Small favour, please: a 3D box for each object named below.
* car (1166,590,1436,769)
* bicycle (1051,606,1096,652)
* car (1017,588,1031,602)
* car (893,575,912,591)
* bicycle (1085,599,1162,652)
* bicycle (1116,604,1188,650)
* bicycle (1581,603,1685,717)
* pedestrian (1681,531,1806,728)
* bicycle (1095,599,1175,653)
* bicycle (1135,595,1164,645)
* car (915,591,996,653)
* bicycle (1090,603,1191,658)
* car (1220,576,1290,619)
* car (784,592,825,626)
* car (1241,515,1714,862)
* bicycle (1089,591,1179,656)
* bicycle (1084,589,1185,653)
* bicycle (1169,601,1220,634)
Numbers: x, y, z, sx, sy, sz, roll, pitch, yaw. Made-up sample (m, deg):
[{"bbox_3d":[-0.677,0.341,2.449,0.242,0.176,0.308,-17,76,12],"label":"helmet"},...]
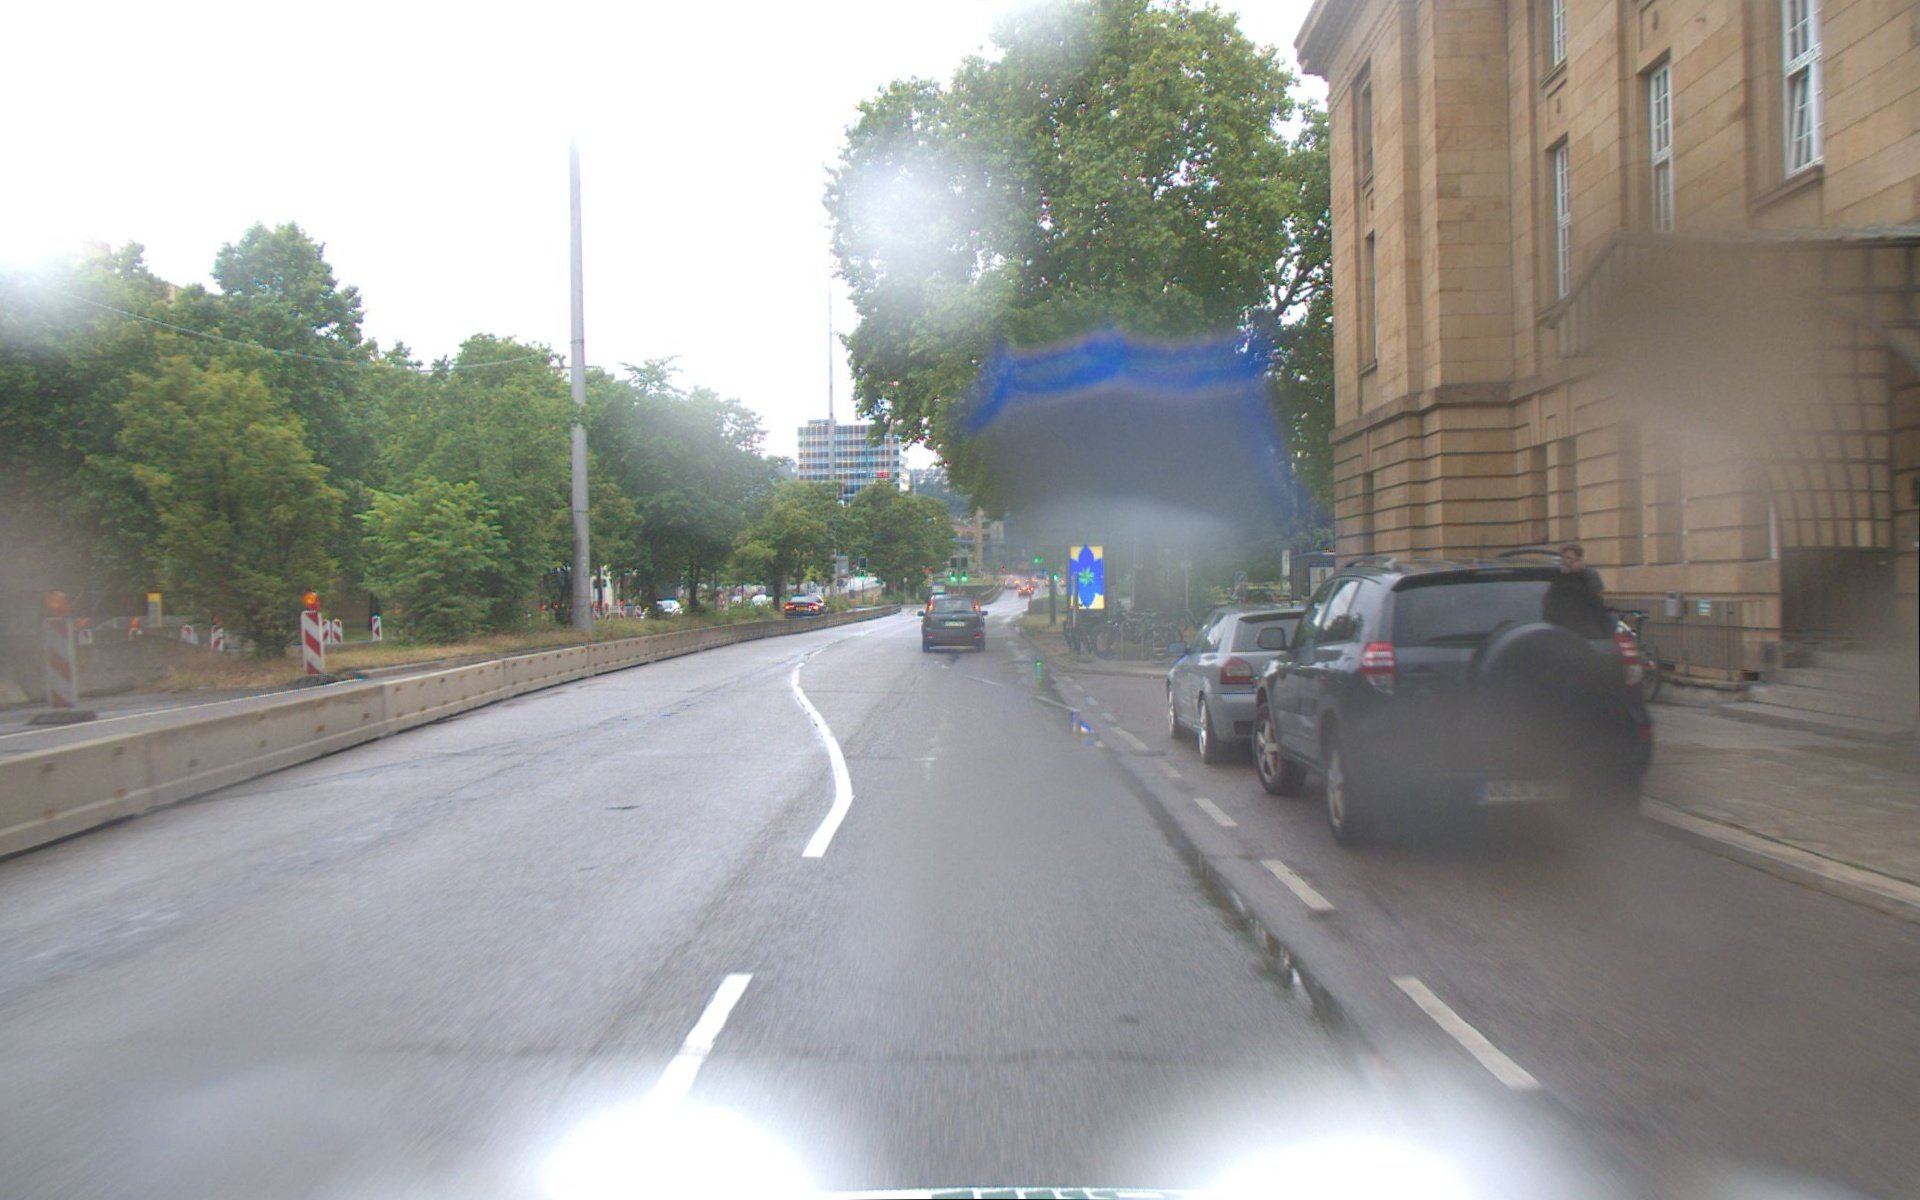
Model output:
[{"bbox_3d":[3.145,0.690,15.998,1.891,1.504,3.703,-1,0,1],"label":"car"},{"bbox_3d":[2.557,0.647,37.102,0.655,0.984,1.638,-1,0,16],"label":"bicycle"},{"bbox_3d":[9.043,-0.673,233.814,1.702,1.802,4.002,-3,-1,3],"label":"car"},{"bbox_3d":[-6.167,-1.819,177.789,1.953,1.661,3.998,-1,0,-2],"label":"car"},{"bbox_3d":[3.580,0.556,36.213,1.644,1.142,0.602,-1,0,3],"label":"bicycle"},{"bbox_3d":[4.284,0.601,36.939,1.556,1.012,0.525,-1,0,3],"label":"bicycle"},{"bbox_3d":[7.639,0.654,18.843,0.454,1.236,1.691,-1,0,-1],"label":"bicycle"},{"bbox_3d":[7.541,0.278,15.944,0.779,1.808,0.642,-4,0,1],"label":"pedestrian"},{"bbox_3d":[3.683,0.551,34.908,1.644,1.109,0.651,-1,0,3],"label":"bicycle"},{"bbox_3d":[4.769,0.498,41.584,0.592,1.218,1.906,-3,-1,8],"label":"bicycle"},{"bbox_3d":[-0.161,0.572,42.983,1.808,1.441,3.836,-3,-1,-4],"label":"car"},{"bbox_3d":[3.639,0.614,33.416,1.945,1.078,0.759,-1,0,-2],"label":"bicycle"},{"bbox_3d":[12.176,-0.128,68.520,1.953,1.637,5.237,-1,1,0],"label":"car"},{"bbox_3d":[-7.339,0.425,78.559,1.719,1.477,3.997,-3,0,-3],"label":"car"},{"bbox_3d":[3.079,0.483,10.830,1.952,1.812,4.190,-1,0,3],"label":"car"},{"bbox_3d":[3.718,0.499,35.426,1.866,1.356,0.651,-1,0,3],"label":"bicycle"},{"bbox_3d":[3.791,0.457,36.003,2.145,1.360,0.651,-1,0,3],"label":"bicycle"},{"bbox_3d":[7.594,0.555,53.518,1.606,1.038,0.575,1,0,6],"label":"bicycle"}]
